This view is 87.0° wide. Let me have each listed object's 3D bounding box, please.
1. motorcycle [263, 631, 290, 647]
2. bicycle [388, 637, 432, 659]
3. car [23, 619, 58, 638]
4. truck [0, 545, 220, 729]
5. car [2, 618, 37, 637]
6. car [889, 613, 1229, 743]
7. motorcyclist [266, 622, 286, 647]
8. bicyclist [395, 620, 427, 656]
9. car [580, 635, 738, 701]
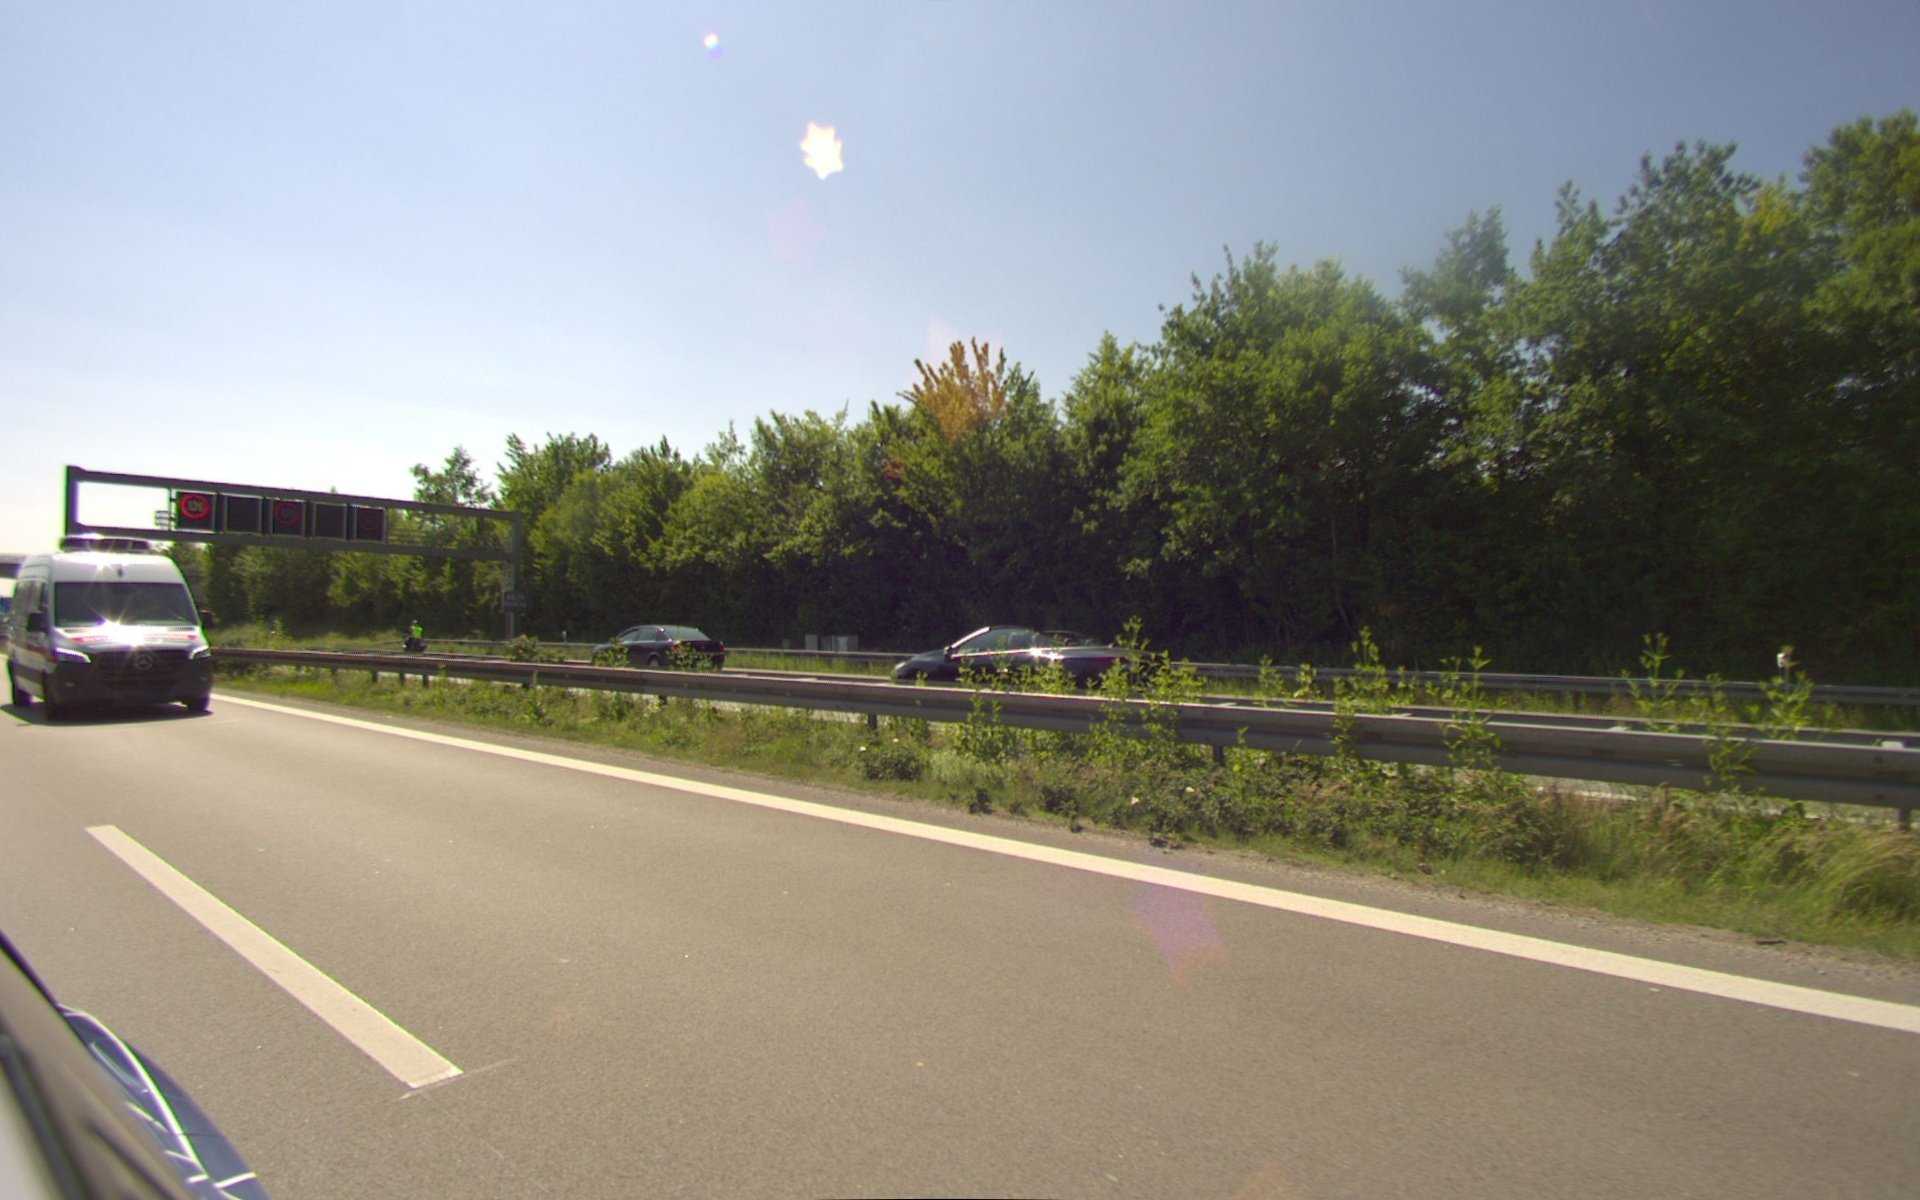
[{"bbox_3d":[-41.566,2.370,61.507,2.221,0.953,0.797,-1,-2,41],"label":"motorcycle"},{"bbox_3d":[-25.386,2.186,46.703,2.732,0.923,0.892,0,-1,41],"label":"bicycle"},{"bbox_3d":[-92.517,2.864,101.785,5.124,1.818,1.973,0,-1,41],"label":"car"},{"bbox_3d":[-14.541,0.580,17.013,6.688,2.561,1.973,-2,-1,41],"label":"truck"},{"bbox_3d":[-80.028,2.369,86.092,4.058,1.630,1.760,-2,-3,41],"label":"car"},{"bbox_3d":[1.275,0.988,14.163,4.425,1.532,1.973,-1,-3,41],"label":"car"},{"bbox_3d":[-41.601,2.081,61.558,0.931,1.511,0.797,-1,-2,41],"label":"motorcyclist"},{"bbox_3d":[-25.254,1.737,46.544,1.286,1.588,0.871,0,-1,41],"label":"bicyclist"},{"bbox_3d":[-8.049,1.732,26.874,4.555,1.597,1.847,-1,-3,41],"label":"car"}]
